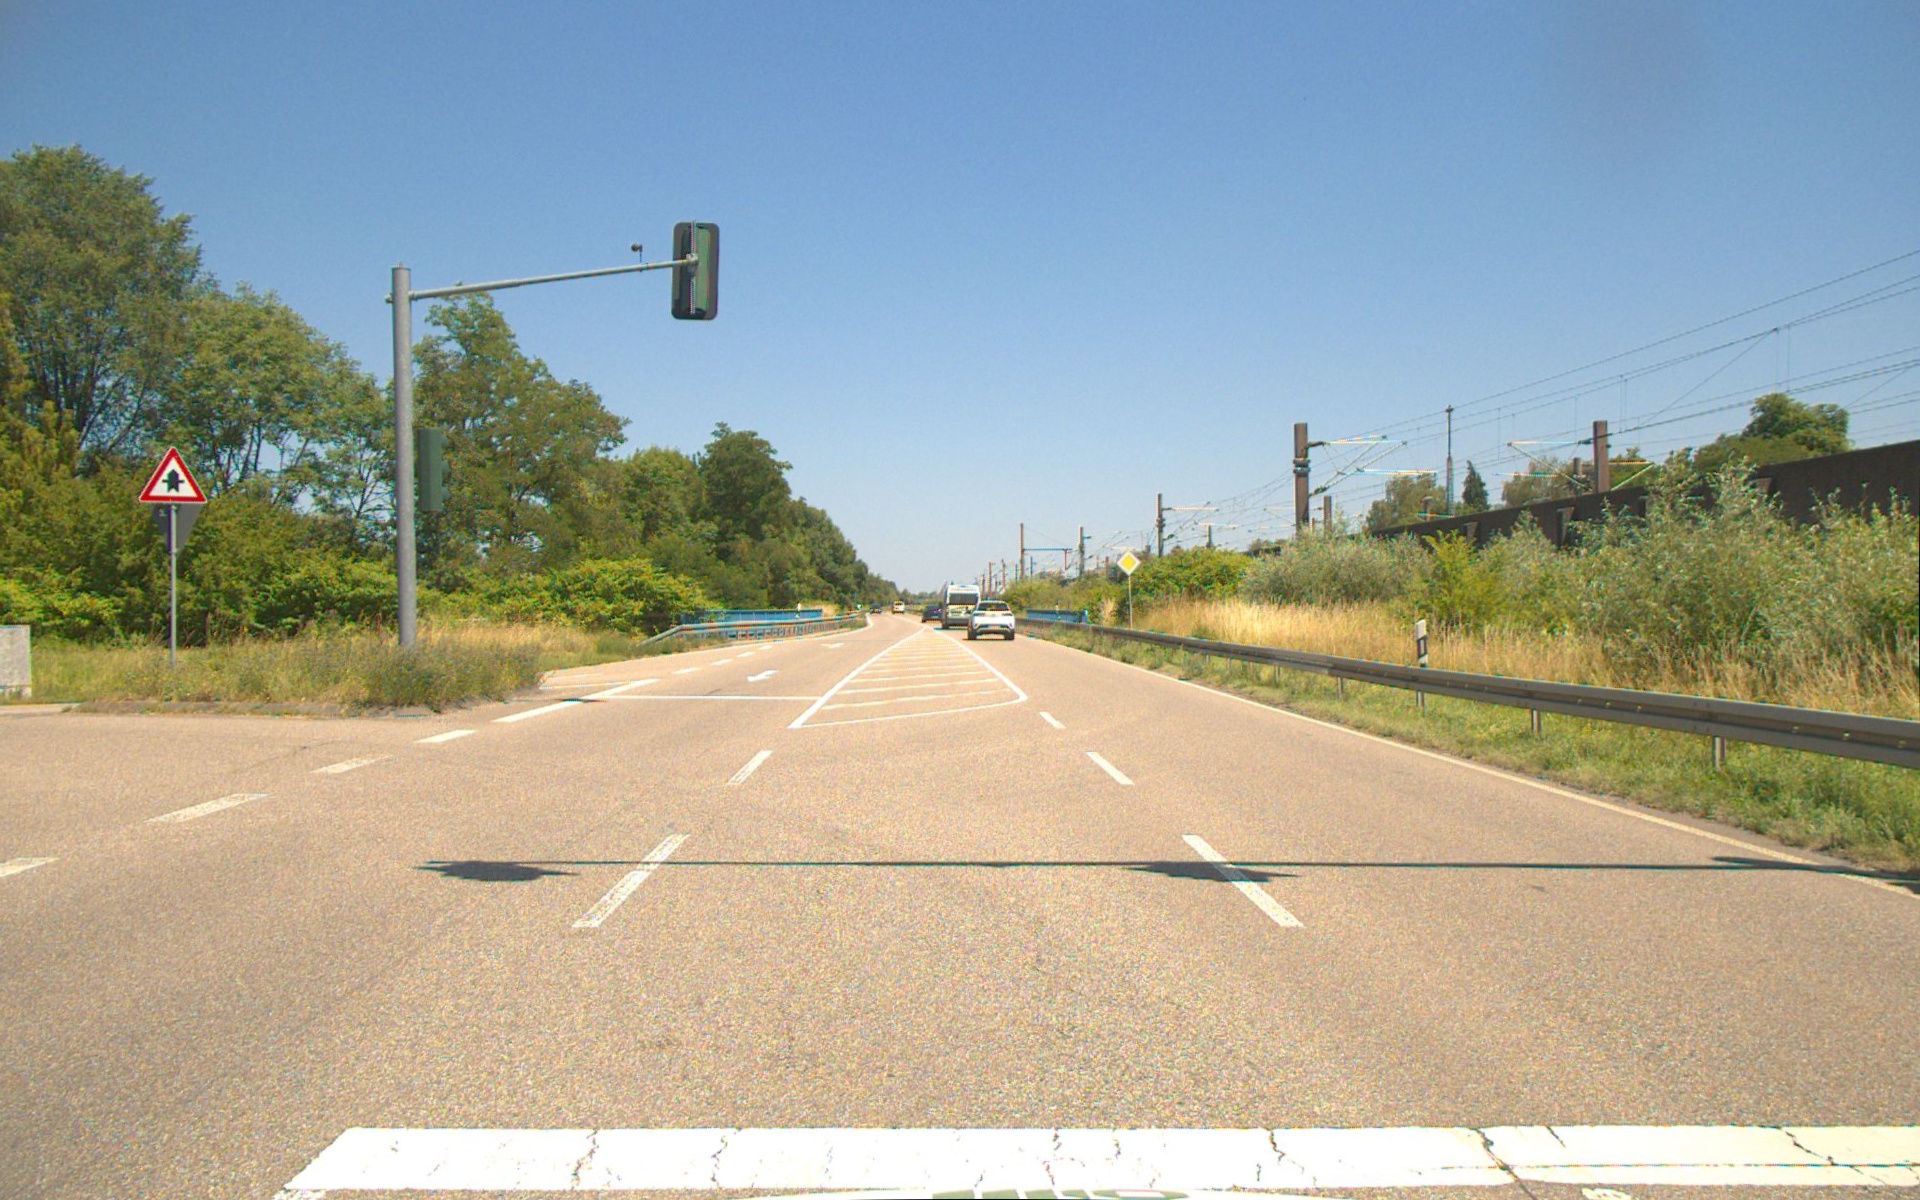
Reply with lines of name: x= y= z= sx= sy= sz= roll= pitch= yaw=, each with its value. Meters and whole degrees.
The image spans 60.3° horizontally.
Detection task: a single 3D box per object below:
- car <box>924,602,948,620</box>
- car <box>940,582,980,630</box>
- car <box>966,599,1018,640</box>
car: x=-1.916 y=0.880 z=133.515 sx=1.819 sy=1.404 sz=4.501 roll=1 pitch=0 yaw=-2
car: x=-0.017 y=0.340 z=96.408 sx=2.144 sy=2.649 sz=6.748 roll=1 pitch=0 yaw=-1
car: x=1.249 y=0.767 z=67.026 sx=1.782 sy=1.591 sz=4.275 roll=0 pitch=0 yaw=-3
